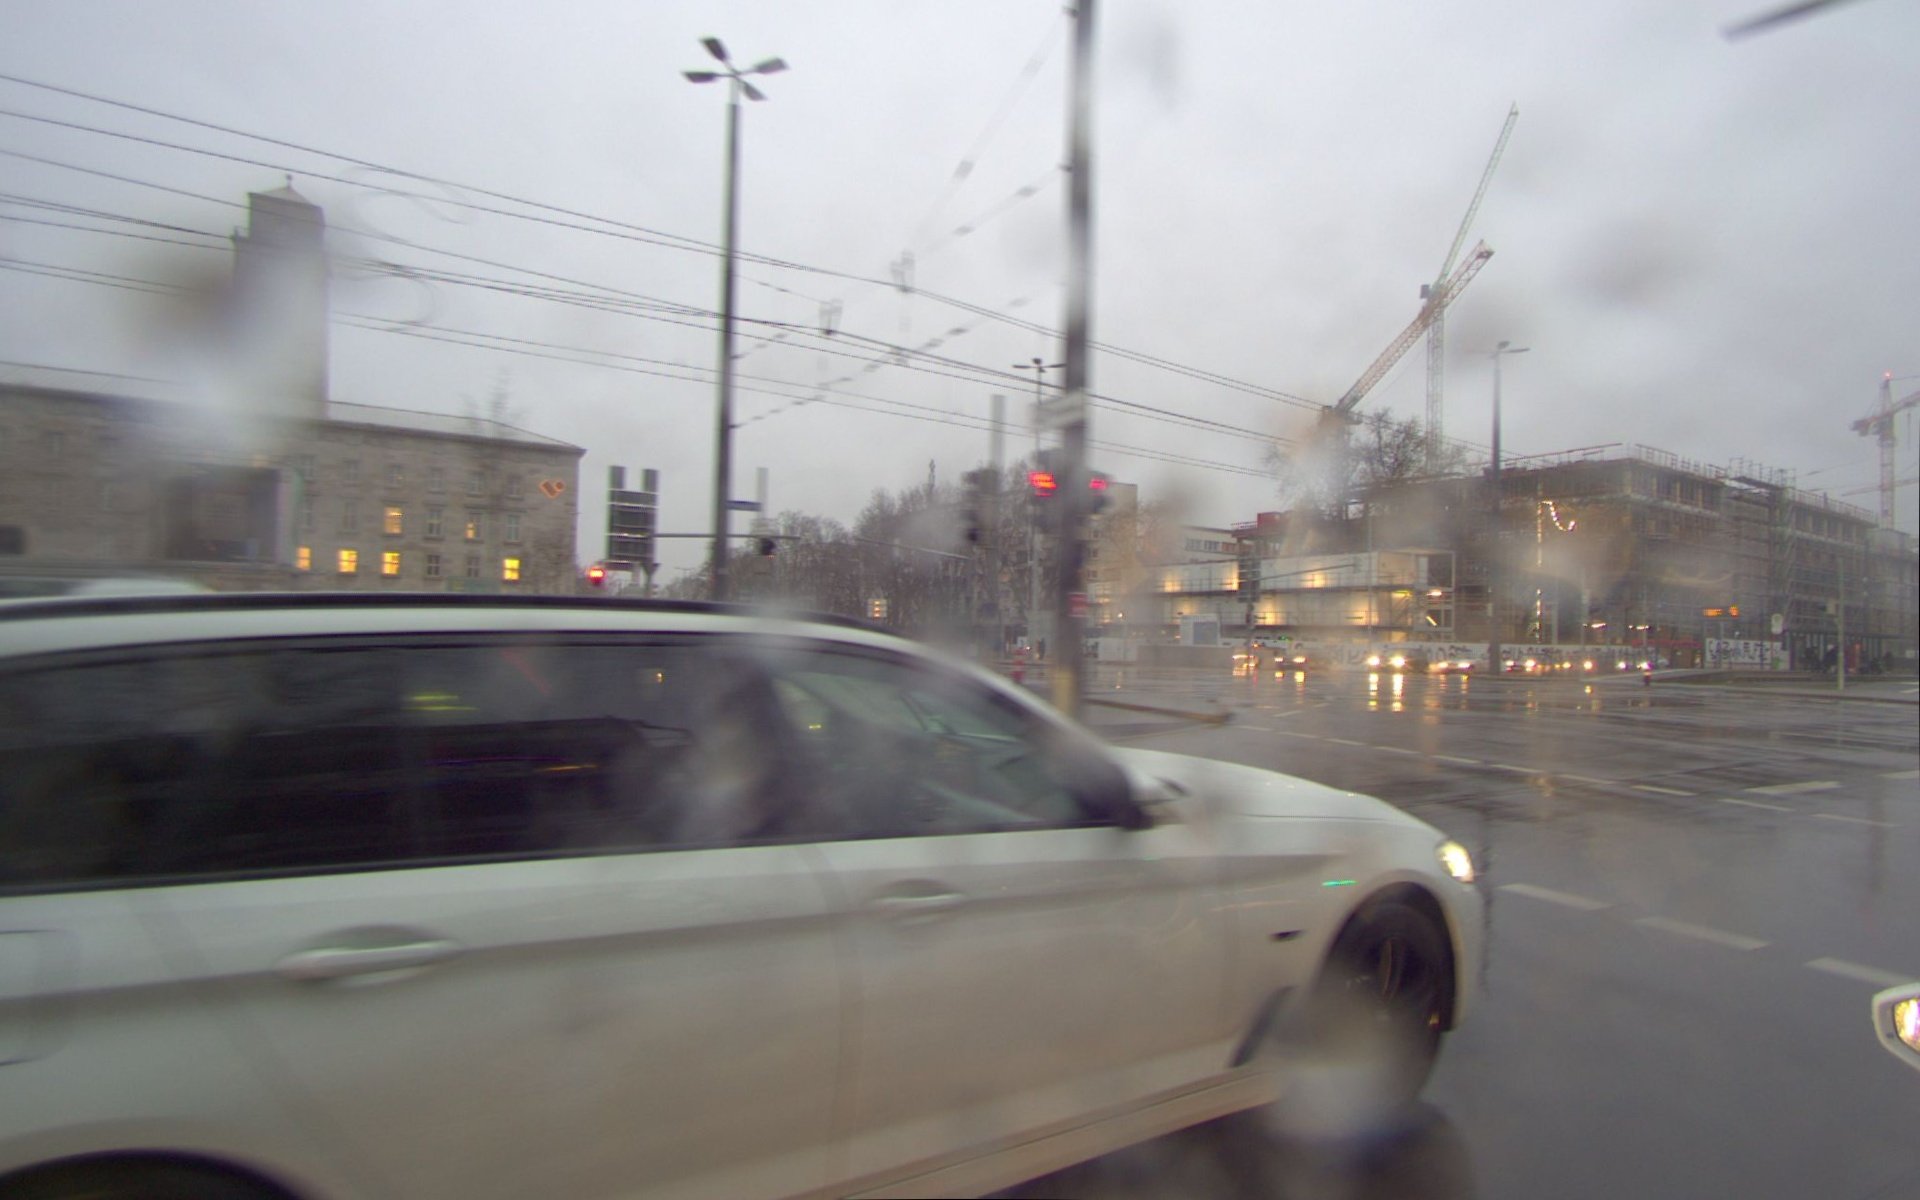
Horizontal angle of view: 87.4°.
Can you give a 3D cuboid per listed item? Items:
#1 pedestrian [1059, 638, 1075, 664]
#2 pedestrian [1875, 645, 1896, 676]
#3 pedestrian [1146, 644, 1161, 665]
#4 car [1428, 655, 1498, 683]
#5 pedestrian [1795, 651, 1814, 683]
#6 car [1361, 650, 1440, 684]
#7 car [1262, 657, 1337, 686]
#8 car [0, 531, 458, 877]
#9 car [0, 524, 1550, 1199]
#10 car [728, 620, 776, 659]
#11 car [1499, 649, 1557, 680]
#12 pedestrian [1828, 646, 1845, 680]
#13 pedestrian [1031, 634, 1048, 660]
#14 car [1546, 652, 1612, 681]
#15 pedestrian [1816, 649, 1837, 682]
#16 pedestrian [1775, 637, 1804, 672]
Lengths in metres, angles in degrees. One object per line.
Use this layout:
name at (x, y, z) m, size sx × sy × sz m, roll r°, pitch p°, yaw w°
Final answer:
pedestrian at (8.357, 3.996, 78.537) m, size 0.810 × 1.959 × 0.916 m, roll 3°, pitch -1°, yaw -37°
pedestrian at (64.299, 4.199, 69.787) m, size 1.086 × 2.040 × 0.934 m, roll 3°, pitch -1°, yaw -41°
pedestrian at (13.475, 3.794, 69.950) m, size 0.716 × 1.406 × 0.725 m, roll 3°, pitch -2°, yaw -28°
car at (29.873, 4.085, 59.591) m, size 4.579 × 1.550 × 2.058 m, roll 4°, pitch -3°, yaw -40°
pedestrian at (50.963, 4.048, 60.623) m, size 0.547 × 1.905 × 0.695 m, roll 3°, pitch 0°, yaw -31°
car at (23.515, 3.560, 53.620) m, size 3.955 × 1.678 × 1.984 m, roll 3°, pitch -2°, yaw -31°
car at (19.309, 4.063, 57.112) m, size 3.955 × 1.550 × 1.984 m, roll 3°, pitch -2°, yaw -31°
car at (-5.149, 0.480, 5.405) m, size 4.239 × 1.604 × 1.958 m, roll 3°, pitch -2°, yaw -30°
car at (-0.565, 0.733, 2.850) m, size 4.509 × 1.506 × 2.007 m, roll 3°, pitch -2°, yaw -32°
car at (-13.640, 2.540, 65.721) m, size 2.032 × 2.454 × 4.733 m, roll 2°, pitch -2°, yaw -24°
car at (36.390, 4.146, 64.318) m, size 3.964 × 1.852 × 1.851 m, roll 3°, pitch -1°, yaw -38°
pedestrian at (54.147, 3.891, 62.060) m, size 0.659 × 1.994 × 0.566 m, roll 3°, pitch 1°, yaw -36°
pedestrian at (6.288, 3.718, 79.561) m, size 0.810 × 1.959 × 0.916 m, roll 3°, pitch -1°, yaw -37°
car at (42.145, 4.526, 68.374) m, size 3.948 × 1.814 × 1.987 m, roll 3°, pitch -1°, yaw -26°
pedestrian at (52.956, 3.998, 61.387) m, size 0.754 × 1.922 × 0.761 m, roll 4°, pitch -1°, yaw -31°
pedestrian at (49.728, 3.249, 60.196) m, size 1.080 × 2.040 × 0.938 m, roll 3°, pitch -1°, yaw -28°
